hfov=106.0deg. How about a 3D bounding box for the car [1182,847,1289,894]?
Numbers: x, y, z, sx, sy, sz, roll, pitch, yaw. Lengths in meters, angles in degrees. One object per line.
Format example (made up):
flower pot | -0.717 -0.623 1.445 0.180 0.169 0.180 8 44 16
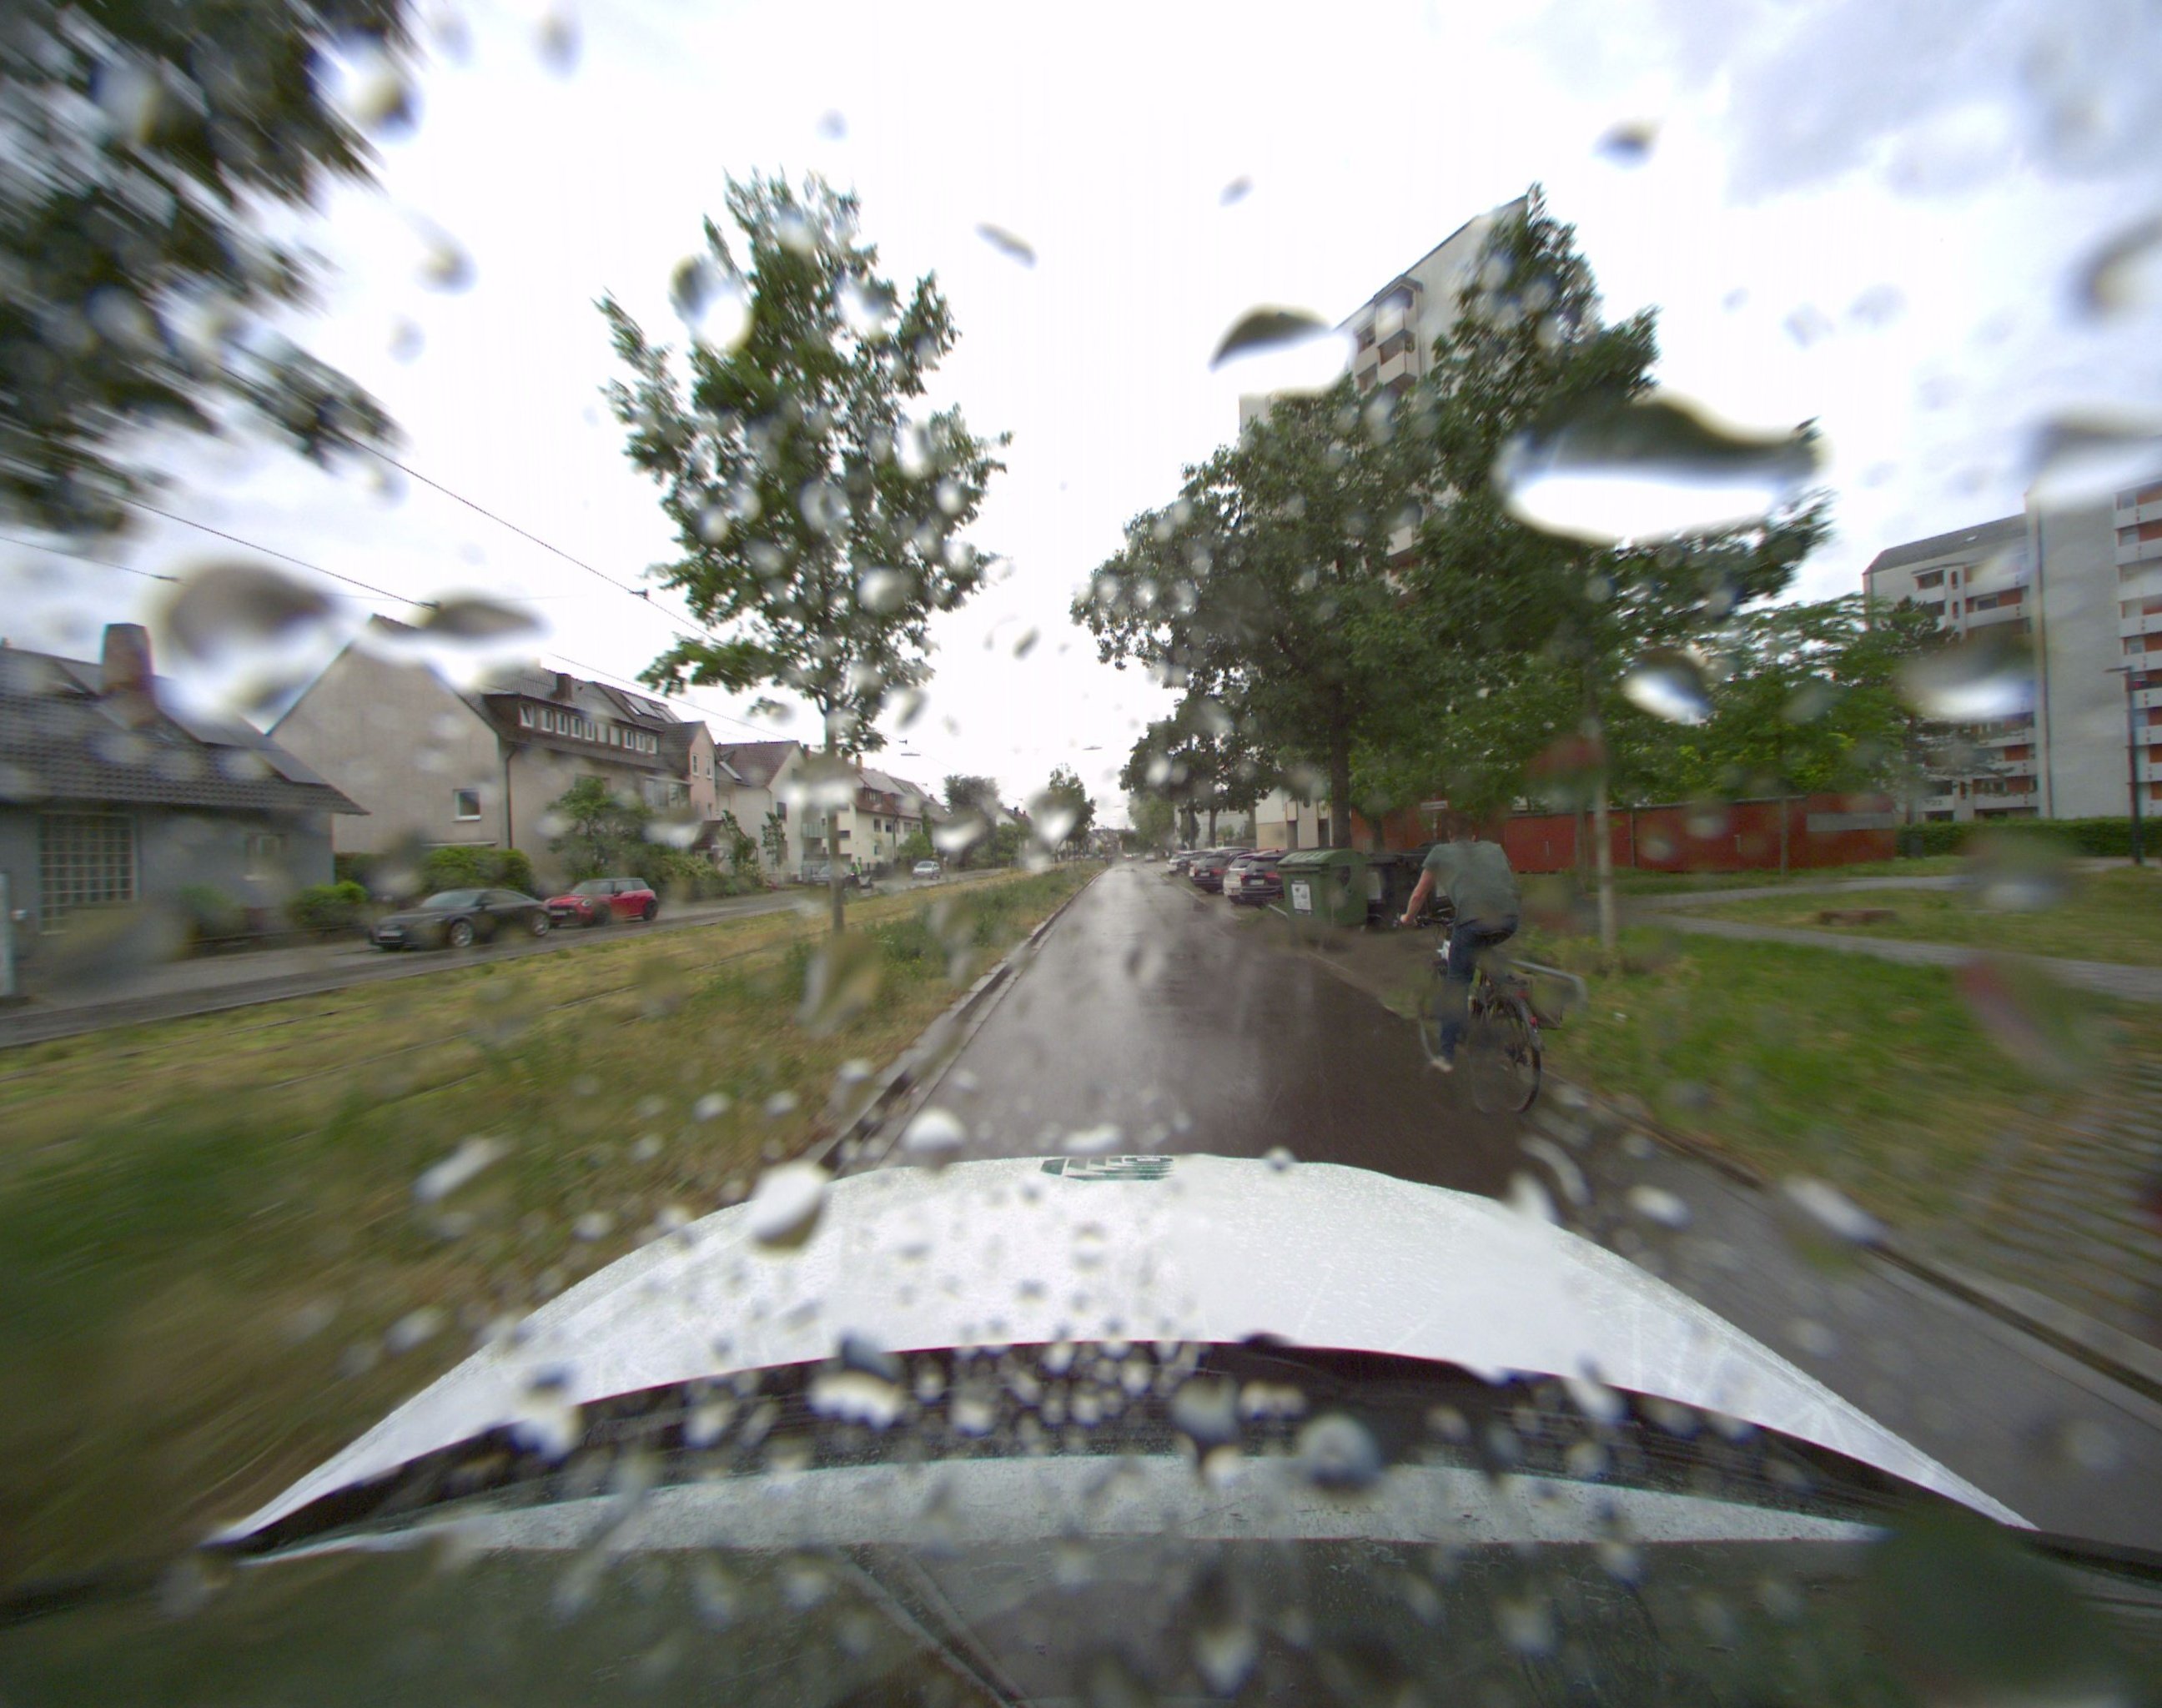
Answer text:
car | 5.591 0.576 29.148 4.063 1.443 1.566 -3 0 -42

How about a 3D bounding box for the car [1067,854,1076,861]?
car | -2.226 0.785 186.671 1.836 1.672 4.002 -3 0 2

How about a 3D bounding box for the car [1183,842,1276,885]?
car | 6.595 0.404 35.994 4.058 1.703 1.568 -3 0 -35

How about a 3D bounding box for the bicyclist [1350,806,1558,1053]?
bicyclist | 2.406 0.450 5.399 0.807 1.432 1.059 -3 0 -2

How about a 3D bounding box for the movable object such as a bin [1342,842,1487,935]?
movable object such as a bin | 5.554 0.539 13.656 1.687 1.326 1.392 -5 1 -19

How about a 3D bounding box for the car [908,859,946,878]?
car | -12.784 1.166 68.044 1.887 1.469 4.694 0 0 5

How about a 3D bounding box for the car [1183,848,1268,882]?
car | 6.988 0.511 39.307 4.058 1.445 1.568 -3 0 -35

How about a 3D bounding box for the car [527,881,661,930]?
car | -14.809 1.531 25.041 1.668 1.244 3.857 0 0 3

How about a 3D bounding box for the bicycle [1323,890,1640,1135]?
bicycle | 2.431 0.868 5.440 0.807 1.096 2.516 -3 0 -1

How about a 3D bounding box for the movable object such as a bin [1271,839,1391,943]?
movable object such as a bin | 4.069 0.579 13.373 1.129 1.457 1.392 -8 2 -19

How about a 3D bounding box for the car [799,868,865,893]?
car | -13.892 1.457 45.759 1.887 1.244 4.694 0 0 5

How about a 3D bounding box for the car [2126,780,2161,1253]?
car | 5.695 0.413 3.203 3.903 1.567 1.714 -5 1 -35

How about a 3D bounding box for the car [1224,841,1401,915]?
car | 5.788 0.548 20.243 4.243 1.519 1.858 -3 0 -33

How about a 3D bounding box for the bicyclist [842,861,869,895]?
bicyclist | -11.709 1.239 42.347 1.014 1.685 1.092 -3 0 2

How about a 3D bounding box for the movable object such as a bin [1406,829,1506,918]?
movable object such as a bin | 7.009 0.353 15.235 1.250 1.520 1.079 -4 0 -26

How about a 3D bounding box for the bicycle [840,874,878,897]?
bicycle | -11.683 1.636 42.974 1.014 1.027 3.198 -3 0 2

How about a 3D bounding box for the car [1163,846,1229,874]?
car | 7.162 0.382 50.512 4.058 1.513 1.568 -3 0 -35

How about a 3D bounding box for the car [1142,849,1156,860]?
car | 10.101 0.104 120.609 1.826 1.586 4.002 -3 0 2

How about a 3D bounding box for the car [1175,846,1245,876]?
car | 7.575 0.423 47.660 4.058 1.541 1.568 -3 0 -35

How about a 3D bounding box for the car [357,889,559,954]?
car | -14.941 1.566 19.855 1.657 1.244 4.074 0 0 2

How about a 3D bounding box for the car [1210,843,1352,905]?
car | 5.806 0.546 23.506 4.056 1.519 1.569 -3 0 -33

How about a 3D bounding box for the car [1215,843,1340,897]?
car | 6.449 0.488 26.633 4.056 1.519 1.569 -3 0 -33
